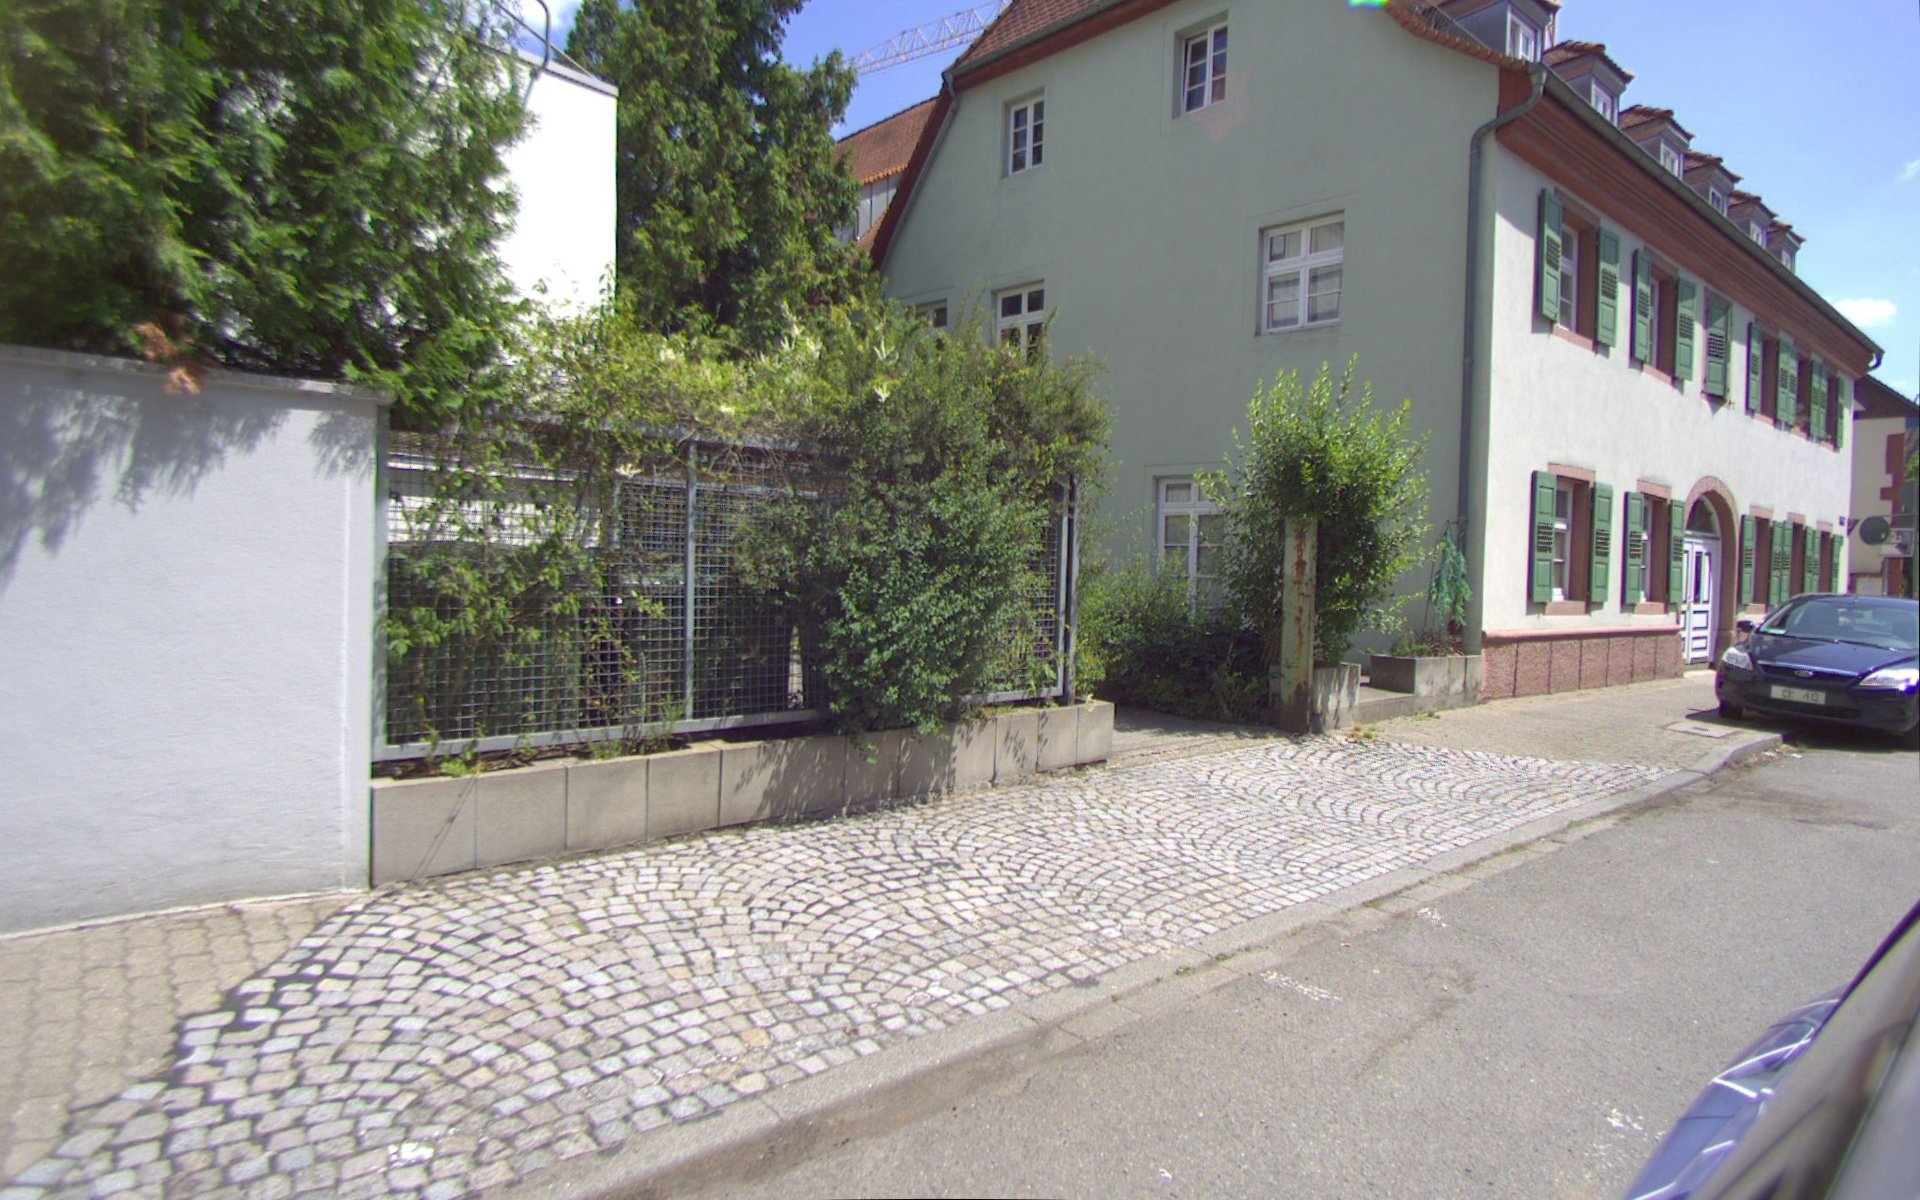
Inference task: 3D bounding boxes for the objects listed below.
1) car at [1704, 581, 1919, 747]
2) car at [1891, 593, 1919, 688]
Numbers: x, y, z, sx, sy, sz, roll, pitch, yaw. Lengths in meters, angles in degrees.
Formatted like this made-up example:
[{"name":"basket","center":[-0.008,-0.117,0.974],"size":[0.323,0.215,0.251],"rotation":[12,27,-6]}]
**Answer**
[{"name":"car","center":[10.185,0.600,11.407],"size":[3.926,1.534,1.852],"rotation":[0,2,-38]},{"name":"car","center":[17.302,0.680,17.157],"size":[3.928,1.516,1.651],"rotation":[0,2,-39]}]
